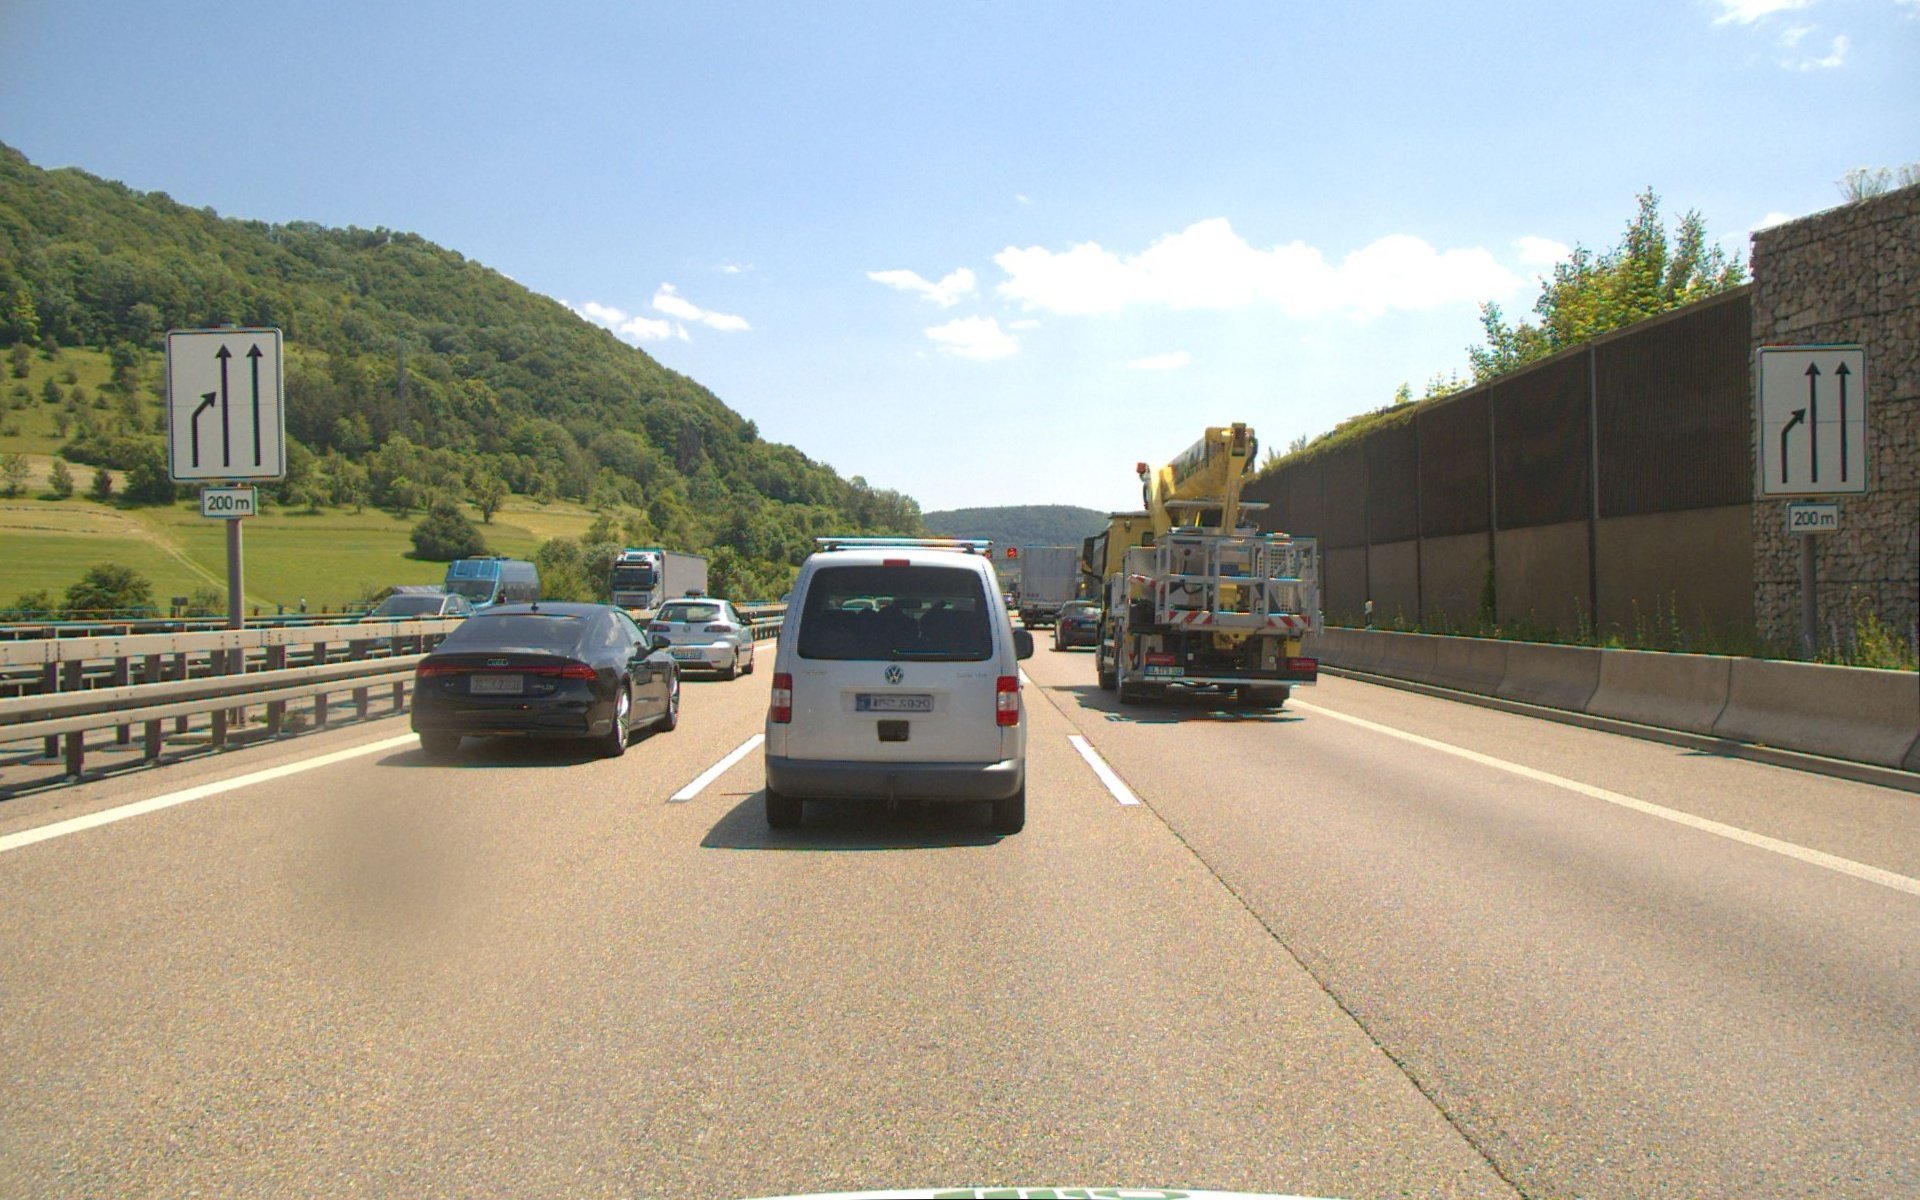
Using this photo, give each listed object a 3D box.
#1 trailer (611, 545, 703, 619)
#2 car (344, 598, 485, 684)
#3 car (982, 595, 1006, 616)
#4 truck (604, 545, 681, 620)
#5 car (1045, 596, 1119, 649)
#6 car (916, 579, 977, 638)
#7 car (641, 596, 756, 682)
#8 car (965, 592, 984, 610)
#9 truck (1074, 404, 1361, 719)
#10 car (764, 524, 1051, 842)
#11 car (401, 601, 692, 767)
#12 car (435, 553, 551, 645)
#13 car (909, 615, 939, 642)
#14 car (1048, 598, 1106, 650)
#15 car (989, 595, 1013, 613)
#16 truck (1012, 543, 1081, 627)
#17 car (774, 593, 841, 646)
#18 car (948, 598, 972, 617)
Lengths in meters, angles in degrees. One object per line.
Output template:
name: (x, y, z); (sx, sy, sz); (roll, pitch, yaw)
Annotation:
trailer: (-18.584, -0.992, 102.343); (3.180, 4.278, 12.999); (1, -1, 0)
car: (-11.703, 0.830, 35.765); (1.809, 1.739, 4.281); (0, 0, -3)
car: (2.880, 0.474, 141.256); (1.953, 1.779, 4.000); (1, -1, 0)
truck: (-18.550, -0.985, 97.135); (3.211, 4.220, 6.954); (1, 0, -1)
car: (3.573, 0.640, 49.043); (1.750, 1.484, 3.768); (0, 0, -3)
car: (-0.508, 0.283, 57.779); (1.954, 2.010, 3.998); (0, 0, -3)
car: (-4.751, 0.670, 30.465); (1.662, 1.470, 3.860); (0, 0, -3)
car: (1.623, 0.120, 184.177); (1.953, 1.837, 3.998); (1, -1, -2)
truck: (3.597, -0.495, 25.462); (2.650, 4.011, 8.716); (0, 0, -3)
car: (-0.413, 0.495, 11.936); (1.721, 1.900, 3.998); (0, 0, -3)
car: (-3.958, 0.729, 16.710); (1.764, 1.415, 4.968); (0, 0, -1)
car: (-15.691, -0.002, 56.007); (2.112, 2.912, 6.398); (1, -1, -1)
car: (-2.562, 2.015, 118.528); (2.071, 1.859, 3.999); (1, -1, 0)
car: (4.663, 0.930, 66.539); (1.953, 2.049, 3.999); (0, 0, -2)
car: (4.154, 0.417, 168.519); (2.072, 1.859, 3.997); (1, -1, -3)
truck: (4.227, -0.670, 82.074); (2.880, 3.890, 8.235); (1, -1, 0)
car: (-4.642, 0.565, 50.838); (1.886, 1.525, 3.998); (1, 0, -3)
car: (-0.025, 0.739, 161.948); (2.072, 1.859, 3.997); (1, -1, -3)
